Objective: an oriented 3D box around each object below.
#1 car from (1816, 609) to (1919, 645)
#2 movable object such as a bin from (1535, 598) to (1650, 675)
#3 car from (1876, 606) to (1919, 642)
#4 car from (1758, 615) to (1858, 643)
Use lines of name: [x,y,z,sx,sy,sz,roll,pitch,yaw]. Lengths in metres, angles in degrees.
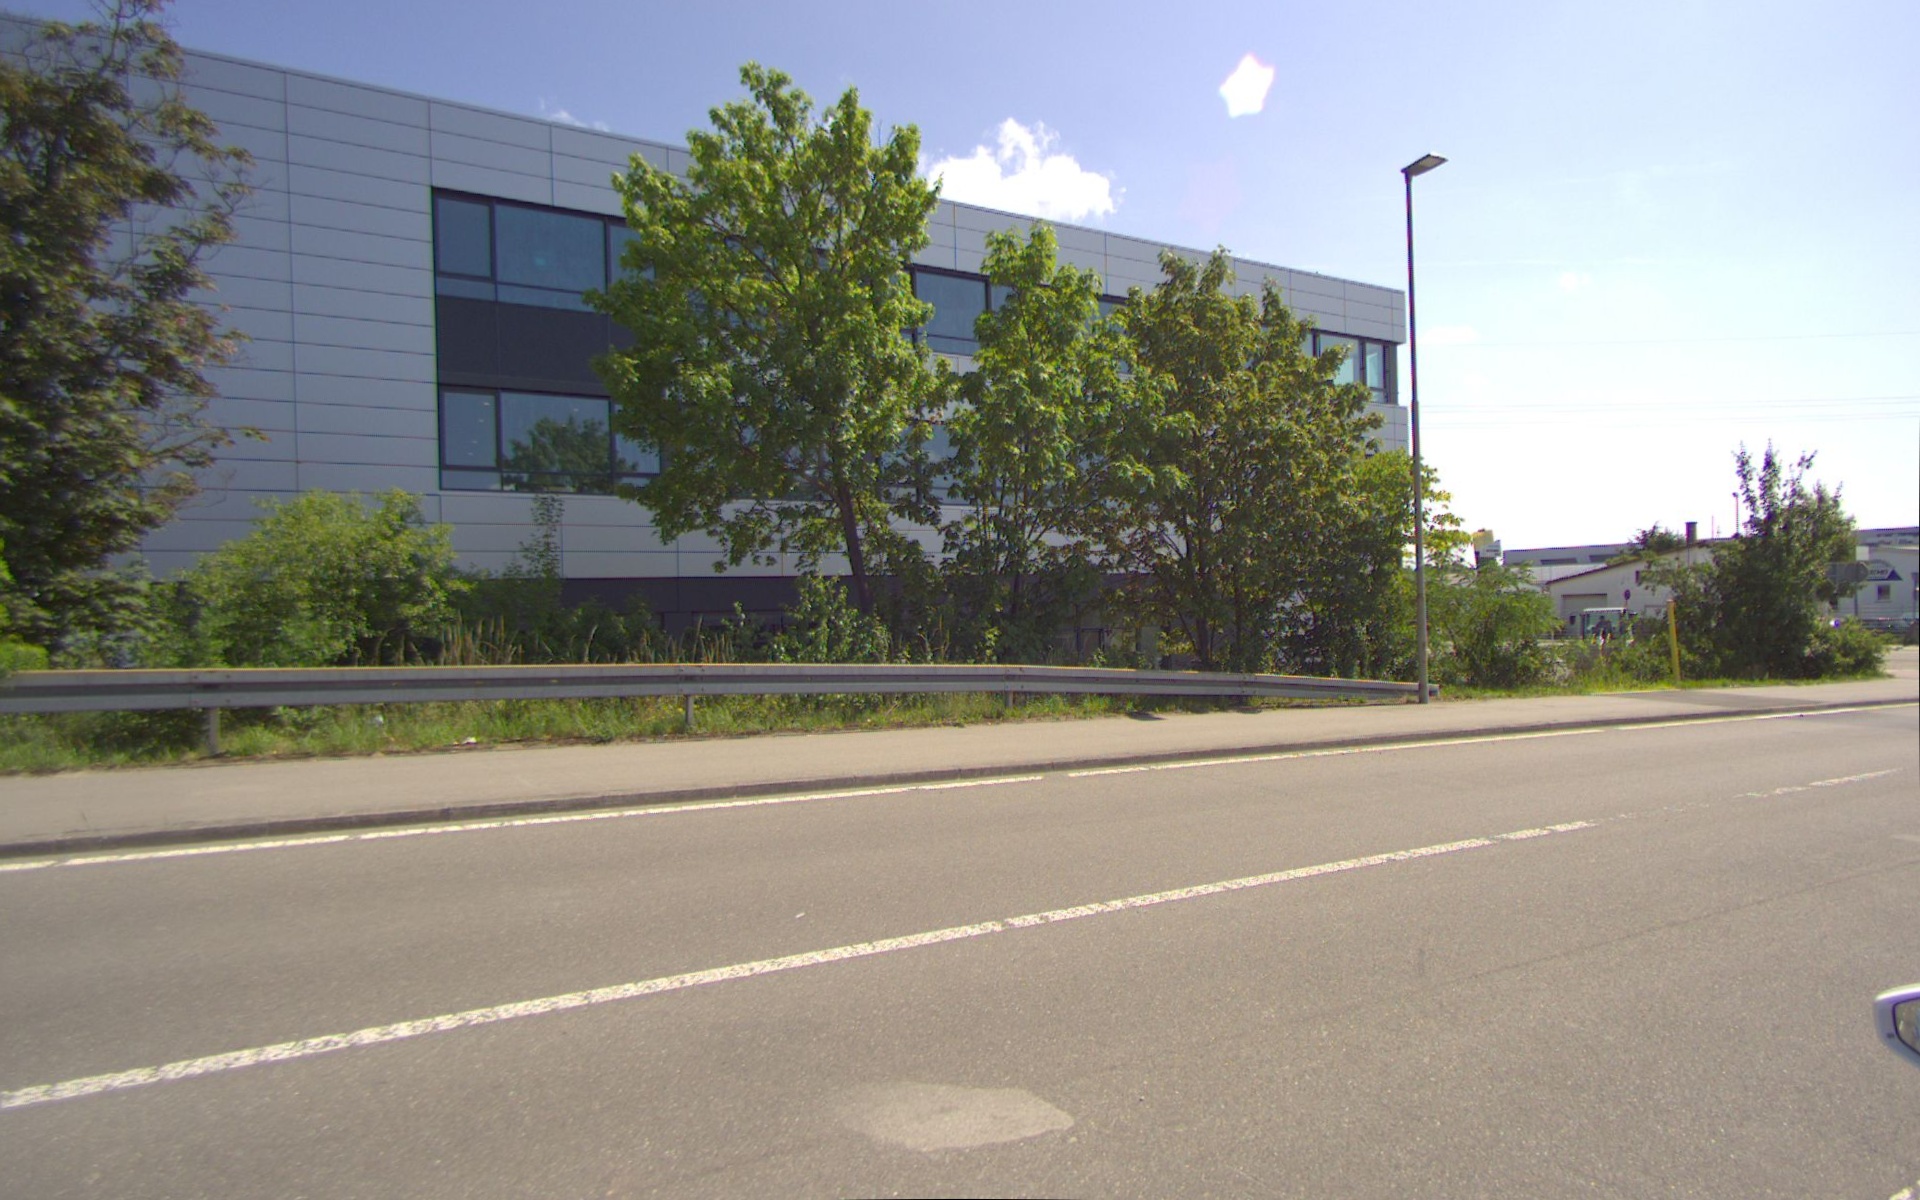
car: [46.858,1.344,51.928,1.960,1.676,4.001,-2,1,3]
movable object such as a bin: [24.127,1.414,38.196,5.690,2.734,2.056,3,-2,-40]
car: [49.516,1.234,51.283,1.960,1.702,4.001,-2,1,3]
car: [44.437,1.476,52.760,1.960,1.394,4.001,0,-1,3]
